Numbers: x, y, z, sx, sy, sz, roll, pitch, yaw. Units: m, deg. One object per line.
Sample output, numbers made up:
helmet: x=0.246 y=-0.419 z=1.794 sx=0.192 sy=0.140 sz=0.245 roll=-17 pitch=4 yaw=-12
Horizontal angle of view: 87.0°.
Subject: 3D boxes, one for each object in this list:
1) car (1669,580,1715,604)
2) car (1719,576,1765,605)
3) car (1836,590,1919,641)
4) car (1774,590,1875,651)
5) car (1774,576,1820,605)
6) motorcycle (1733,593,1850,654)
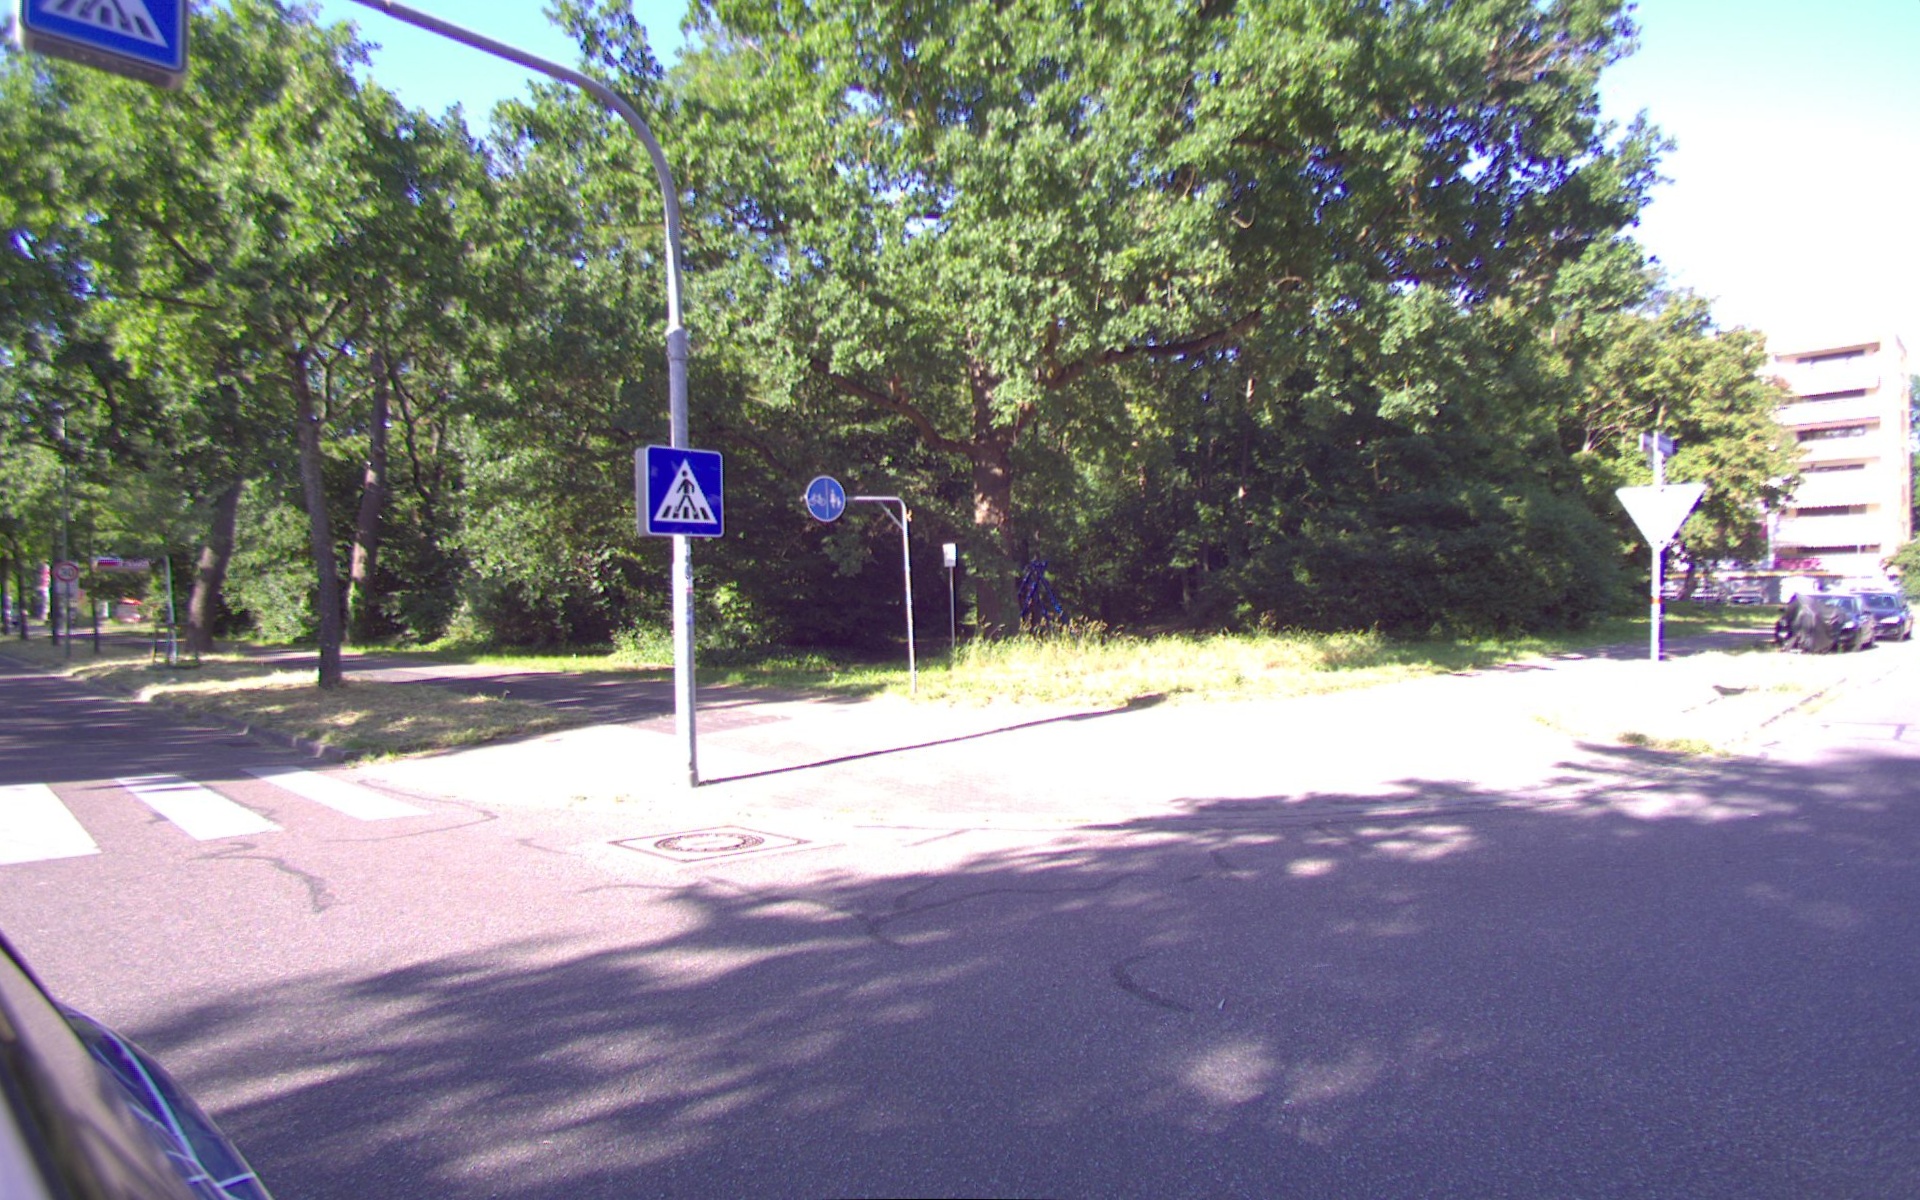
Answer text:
car: x=48.566 y=-0.535 z=67.094 sx=3.779 sy=1.538 sz=1.802 roll=-1 pitch=0 yaw=-44
car: x=50.637 y=-0.619 z=65.491 sx=3.779 sy=1.757 sz=1.764 roll=-1 pitch=0 yaw=-44
car: x=27.350 y=0.423 z=30.138 sx=3.535 sy=1.402 sz=1.561 roll=-1 pitch=0 yaw=-44
car: x=22.009 y=0.491 z=25.726 sx=3.535 sy=1.402 sz=1.561 roll=-1 pitch=0 yaw=-44
car: x=52.271 y=-0.597 z=63.179 sx=3.779 sy=1.757 sz=1.764 roll=-1 pitch=0 yaw=-44
motorcycle: x=19.106 y=0.546 z=23.289 sx=1.944 sy=1.354 sz=0.672 roll=-1 pitch=0 yaw=16
